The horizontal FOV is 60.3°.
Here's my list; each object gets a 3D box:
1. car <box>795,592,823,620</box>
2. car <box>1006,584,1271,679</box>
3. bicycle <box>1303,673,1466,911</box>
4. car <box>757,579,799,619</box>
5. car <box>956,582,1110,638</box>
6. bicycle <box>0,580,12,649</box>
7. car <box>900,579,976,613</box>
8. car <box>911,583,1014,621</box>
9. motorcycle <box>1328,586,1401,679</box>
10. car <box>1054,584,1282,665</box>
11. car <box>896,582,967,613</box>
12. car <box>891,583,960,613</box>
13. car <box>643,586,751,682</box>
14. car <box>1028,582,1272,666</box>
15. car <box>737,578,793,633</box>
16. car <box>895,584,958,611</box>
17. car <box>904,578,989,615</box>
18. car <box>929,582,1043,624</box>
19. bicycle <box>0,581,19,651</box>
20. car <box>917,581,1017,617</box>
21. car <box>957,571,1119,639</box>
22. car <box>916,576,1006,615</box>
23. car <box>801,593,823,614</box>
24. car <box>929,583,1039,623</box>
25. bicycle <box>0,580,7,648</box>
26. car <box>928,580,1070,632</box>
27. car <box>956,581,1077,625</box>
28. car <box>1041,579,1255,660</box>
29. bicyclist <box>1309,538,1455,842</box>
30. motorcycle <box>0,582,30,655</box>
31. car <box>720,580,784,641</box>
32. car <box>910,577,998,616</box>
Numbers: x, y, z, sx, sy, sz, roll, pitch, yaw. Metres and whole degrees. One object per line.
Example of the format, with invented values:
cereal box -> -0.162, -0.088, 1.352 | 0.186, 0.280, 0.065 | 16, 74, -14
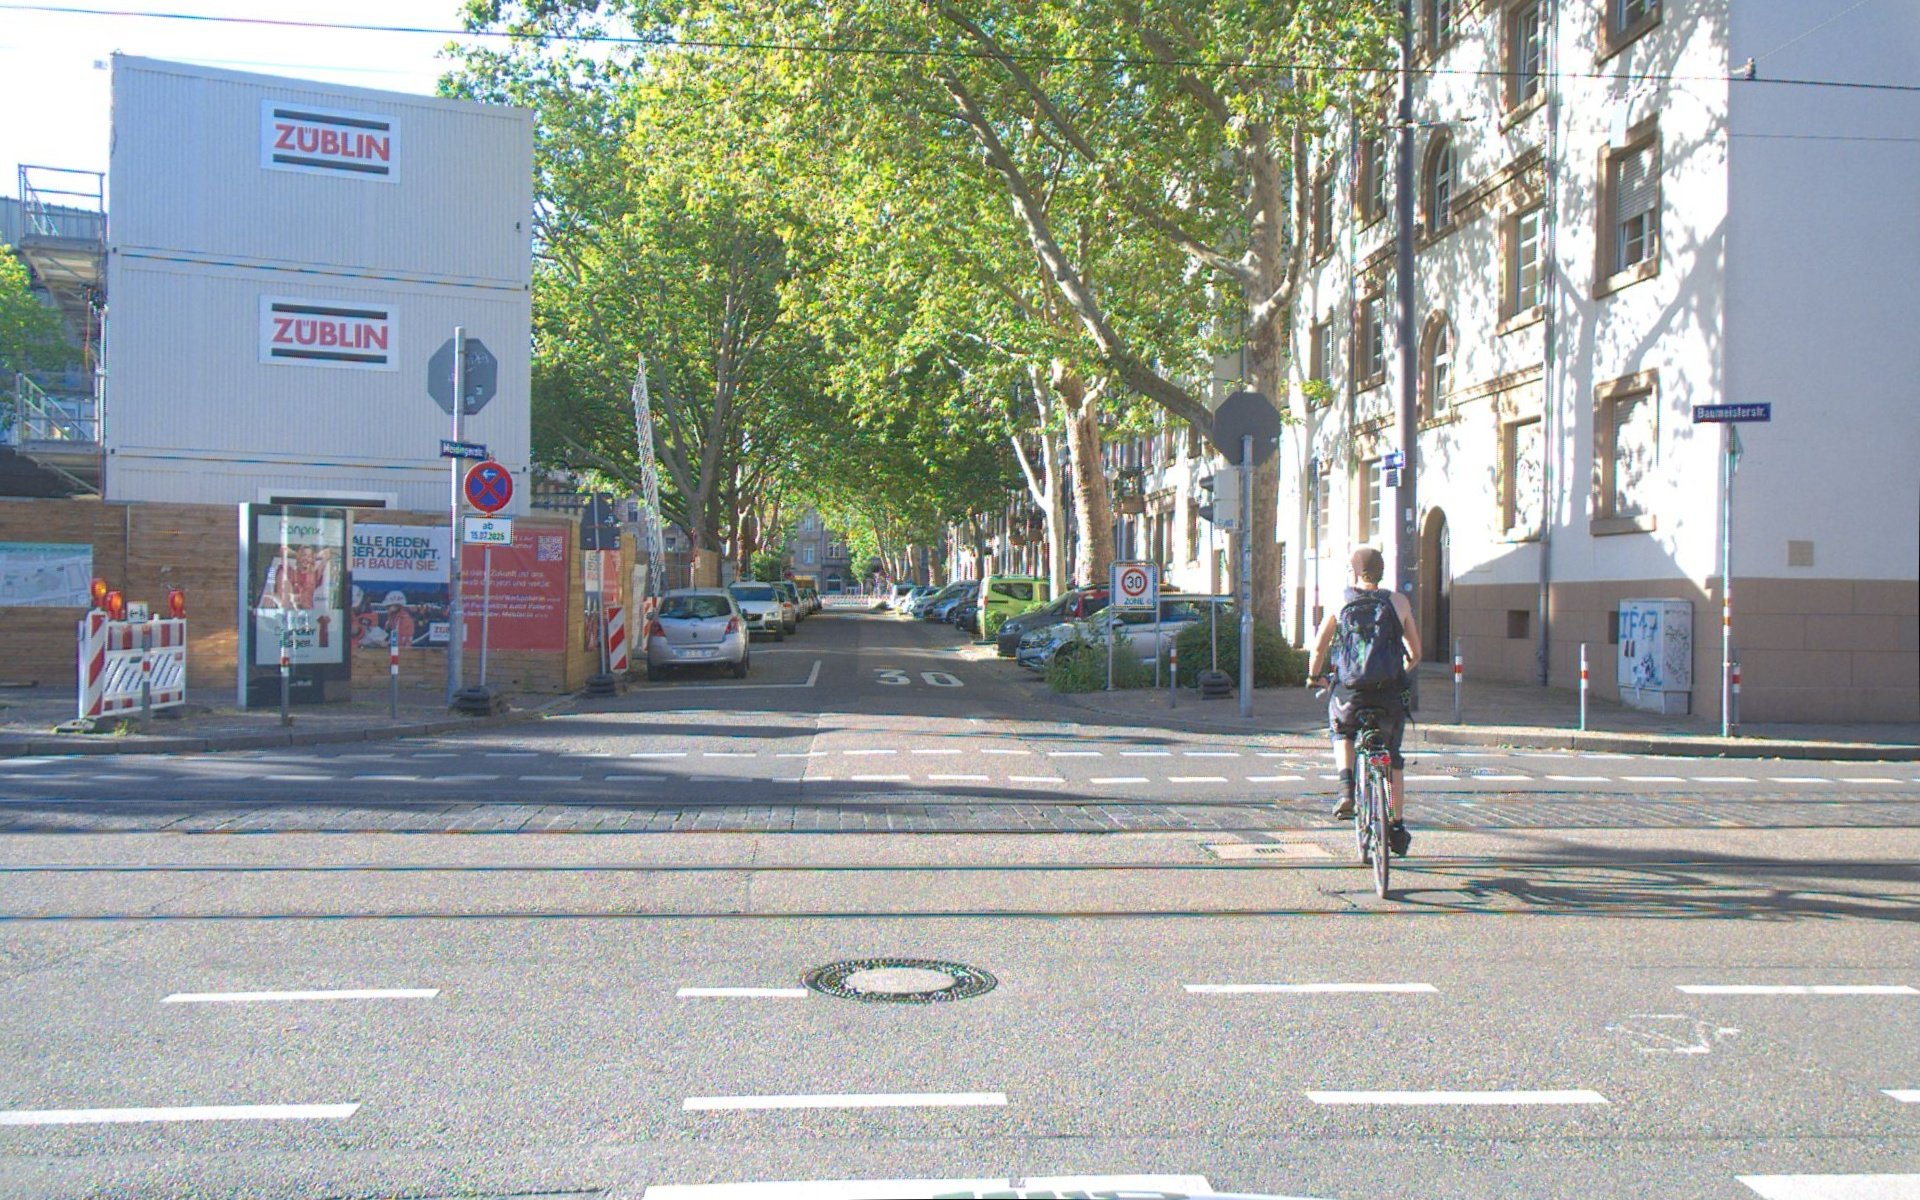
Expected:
car -> -9.014, 0.352, 98.421 | 1.633, 1.590, 4.214 | 0, 0, -6
car -> 3.087, 0.540, 29.029 | 4.375, 1.598, 1.726 | 0, 0, -6
bicycle -> 2.244, 0.965, 8.933 | 0.675, 1.034, 1.909 | 2, 0, 10
car -> -7.411, -0.060, 67.673 | 1.633, 1.590, 4.610 | 0, 0, -6
car -> 2.128, 0.285, 48.987 | 4.375, 1.598, 1.726 | 0, 0, -6
bicycle -> -18.600, 0.277, 30.360 | 2.033, 1.279, 0.464 | 0, 1, -42
car -> -1.325, -0.240, 97.837 | 4.375, 1.931, 1.726 | 0, 0, -6
car -> 0.085, 0.083, 72.667 | 4.375, 1.598, 1.726 | 0, 0, -6
motorcycle -> 6.123, 0.467, 25.104 | 0.504, 1.356, 1.761 | 0, 1, -6
car -> 4.220, 0.484, 33.956 | 4.375, 1.598, 1.726 | 0, 0, -6
car -> -1.811, -0.158, 105.246 | 4.375, 1.931, 1.726 | 0, 0, -6
car -> -2.267, -0.133, 108.264 | 4.375, 1.931, 1.726 | 0, 0, -6
car -> -4.578, 0.536, 29.220 | 1.612, 1.520, 3.995 | -2, 1, -6
car -> 3.569, 0.449, 31.530 | 4.375, 1.526, 1.726 | 0, 0, -6
car -> -5.962, 0.143, 51.000 | 1.633, 1.590, 4.513 | 0, 0, -6
car -> -2.391, -0.179, 117.404 | 4.375, 1.931, 1.726 | 0, 0, -6
car -> -0.739, -0.207, 87.914 | 4.375, 1.931, 1.726 | 0, 0, -6
car -> 1.013, 0.099, 65.481 | 4.375, 1.598, 1.726 | 0, 0, -6
bicycle -> -18.277, 0.296, 30.016 | 2.033, 1.279, 0.464 | 0, 1, -42
car -> 0.293, -0.041, 75.008 | 4.375, 1.598, 1.726 | 0, 0, -6
car -> 2.183, 0.142, 46.970 | 4.375, 1.868, 1.726 | 0, 0, -6
car -> 0.032, -0.225, 82.324 | 4.375, 1.931, 1.726 | 0, 0, -6
car -> -11.493, 0.286, 128.203 | 1.633, 1.590, 4.214 | 0, 0, -6
car -> 0.964, 0.101, 67.957 | 4.375, 1.598, 1.726 | 0, 0, -6
bicycle -> -18.909, 0.270, 30.748 | 2.033, 1.279, 0.464 | 0, 1, -42
car -> 1.233, 0.188, 52.865 | 4.375, 1.598, 1.726 | 0, 0, -6
car -> 2.092, 0.103, 62.355 | 4.375, 1.598, 1.726 | 0, 0, -6
car -> 4.062, 0.404, 36.035 | 4.375, 1.700, 1.726 | 0, 0, -6
bicyclist -> 2.242, 0.460, 8.851 | 0.662, 1.539, 0.669 | 2, 0, 10
motorcycle -> -17.668, 0.334, 29.116 | 2.193, 1.279, 0.535 | 0, 1, -42
car -> -5.661, 0.261, 45.304 | 1.633, 1.590, 3.995 | 0, 0, -6
car -> -0.342, -0.193, 85.068 | 4.375, 1.931, 1.726 | 0, 0, -6
